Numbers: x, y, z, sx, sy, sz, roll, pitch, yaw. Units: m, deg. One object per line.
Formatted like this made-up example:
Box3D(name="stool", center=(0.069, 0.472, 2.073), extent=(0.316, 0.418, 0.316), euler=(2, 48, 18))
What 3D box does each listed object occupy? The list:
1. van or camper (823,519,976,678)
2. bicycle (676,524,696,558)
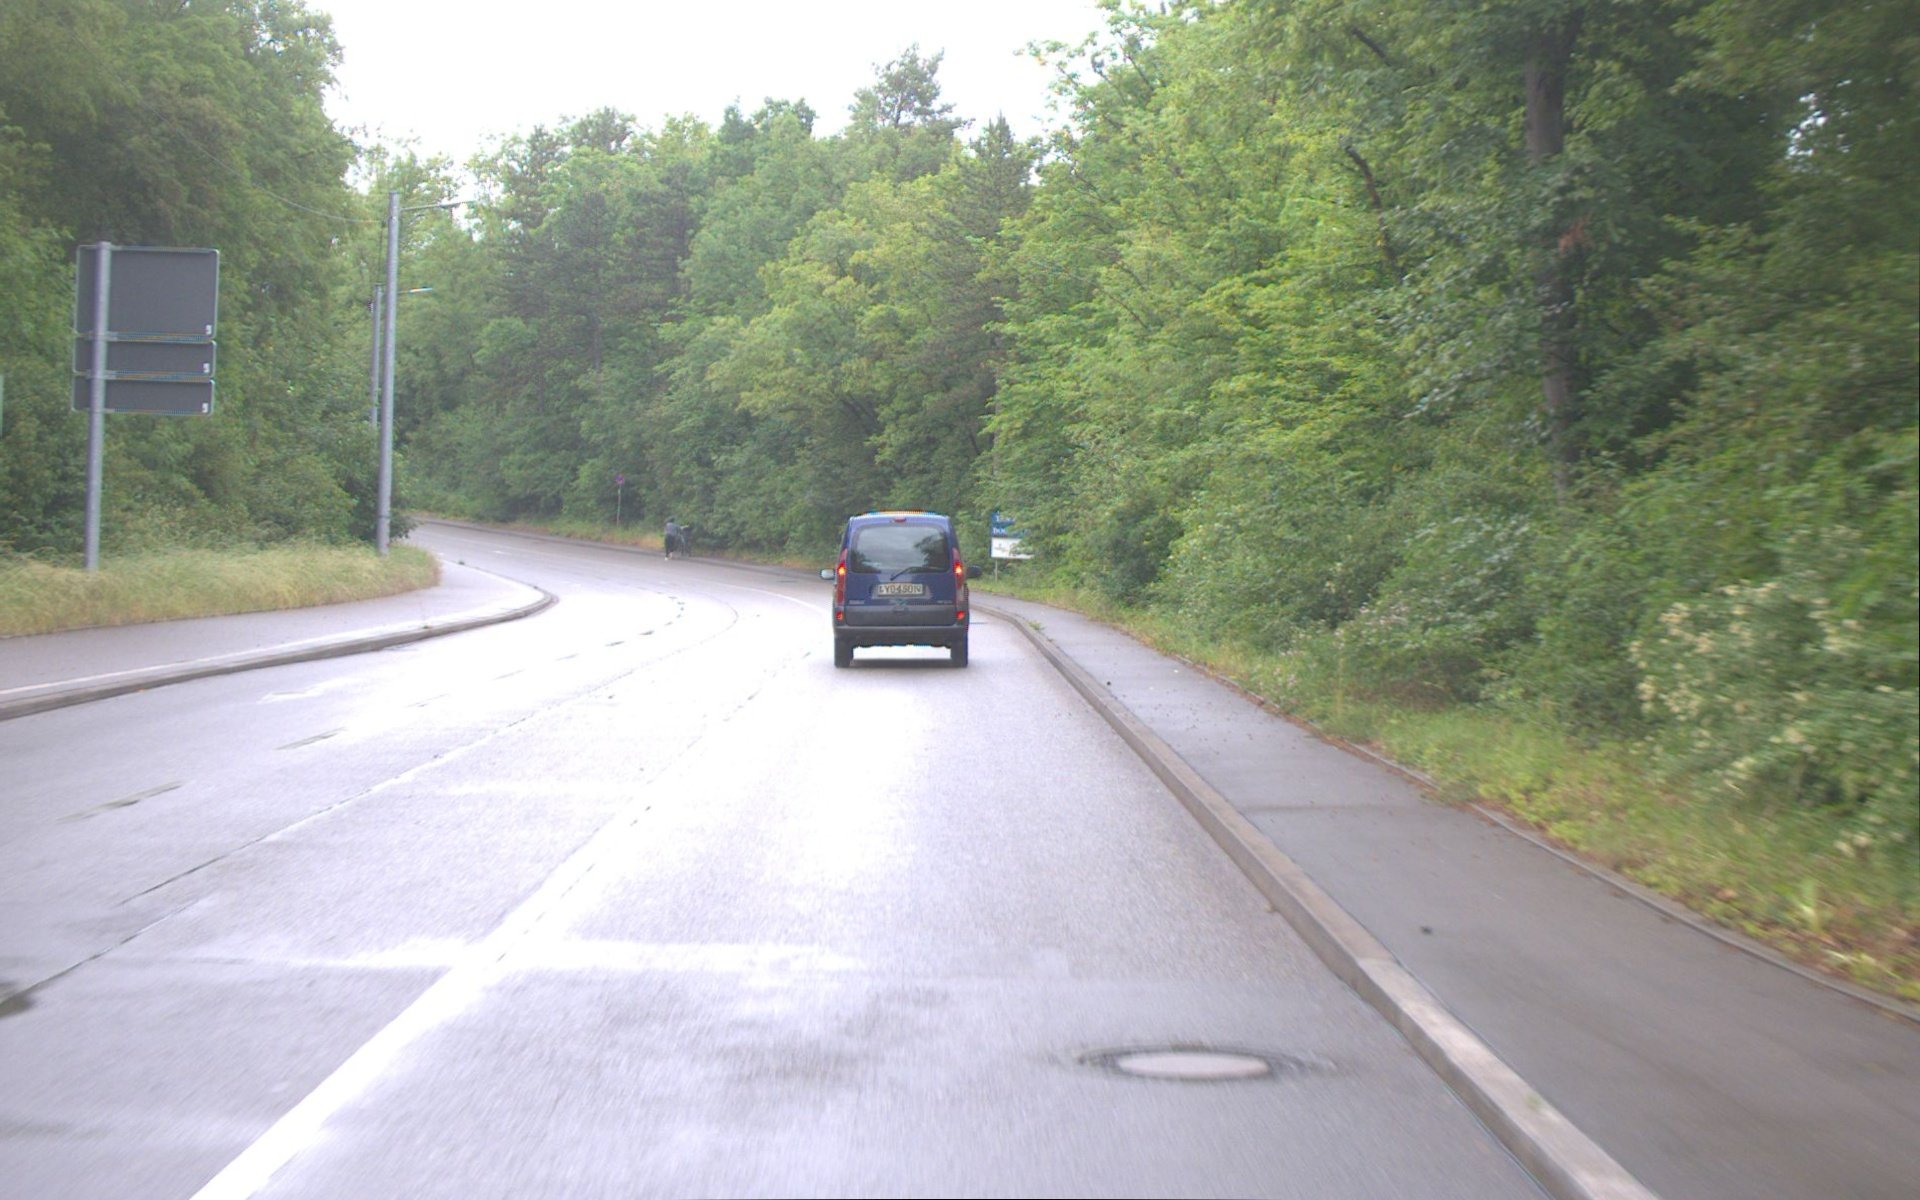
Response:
Box3D(name="van or camper", center=(-0.698, -0.069, 42.272), extent=(1.712, 1.819, 4.000), euler=(1, 1, 1))
Box3D(name="bicycle", center=(-10.474, -2.258, 131.386), extent=(0.488, 1.242, 1.748), euler=(1, 1, -13))
